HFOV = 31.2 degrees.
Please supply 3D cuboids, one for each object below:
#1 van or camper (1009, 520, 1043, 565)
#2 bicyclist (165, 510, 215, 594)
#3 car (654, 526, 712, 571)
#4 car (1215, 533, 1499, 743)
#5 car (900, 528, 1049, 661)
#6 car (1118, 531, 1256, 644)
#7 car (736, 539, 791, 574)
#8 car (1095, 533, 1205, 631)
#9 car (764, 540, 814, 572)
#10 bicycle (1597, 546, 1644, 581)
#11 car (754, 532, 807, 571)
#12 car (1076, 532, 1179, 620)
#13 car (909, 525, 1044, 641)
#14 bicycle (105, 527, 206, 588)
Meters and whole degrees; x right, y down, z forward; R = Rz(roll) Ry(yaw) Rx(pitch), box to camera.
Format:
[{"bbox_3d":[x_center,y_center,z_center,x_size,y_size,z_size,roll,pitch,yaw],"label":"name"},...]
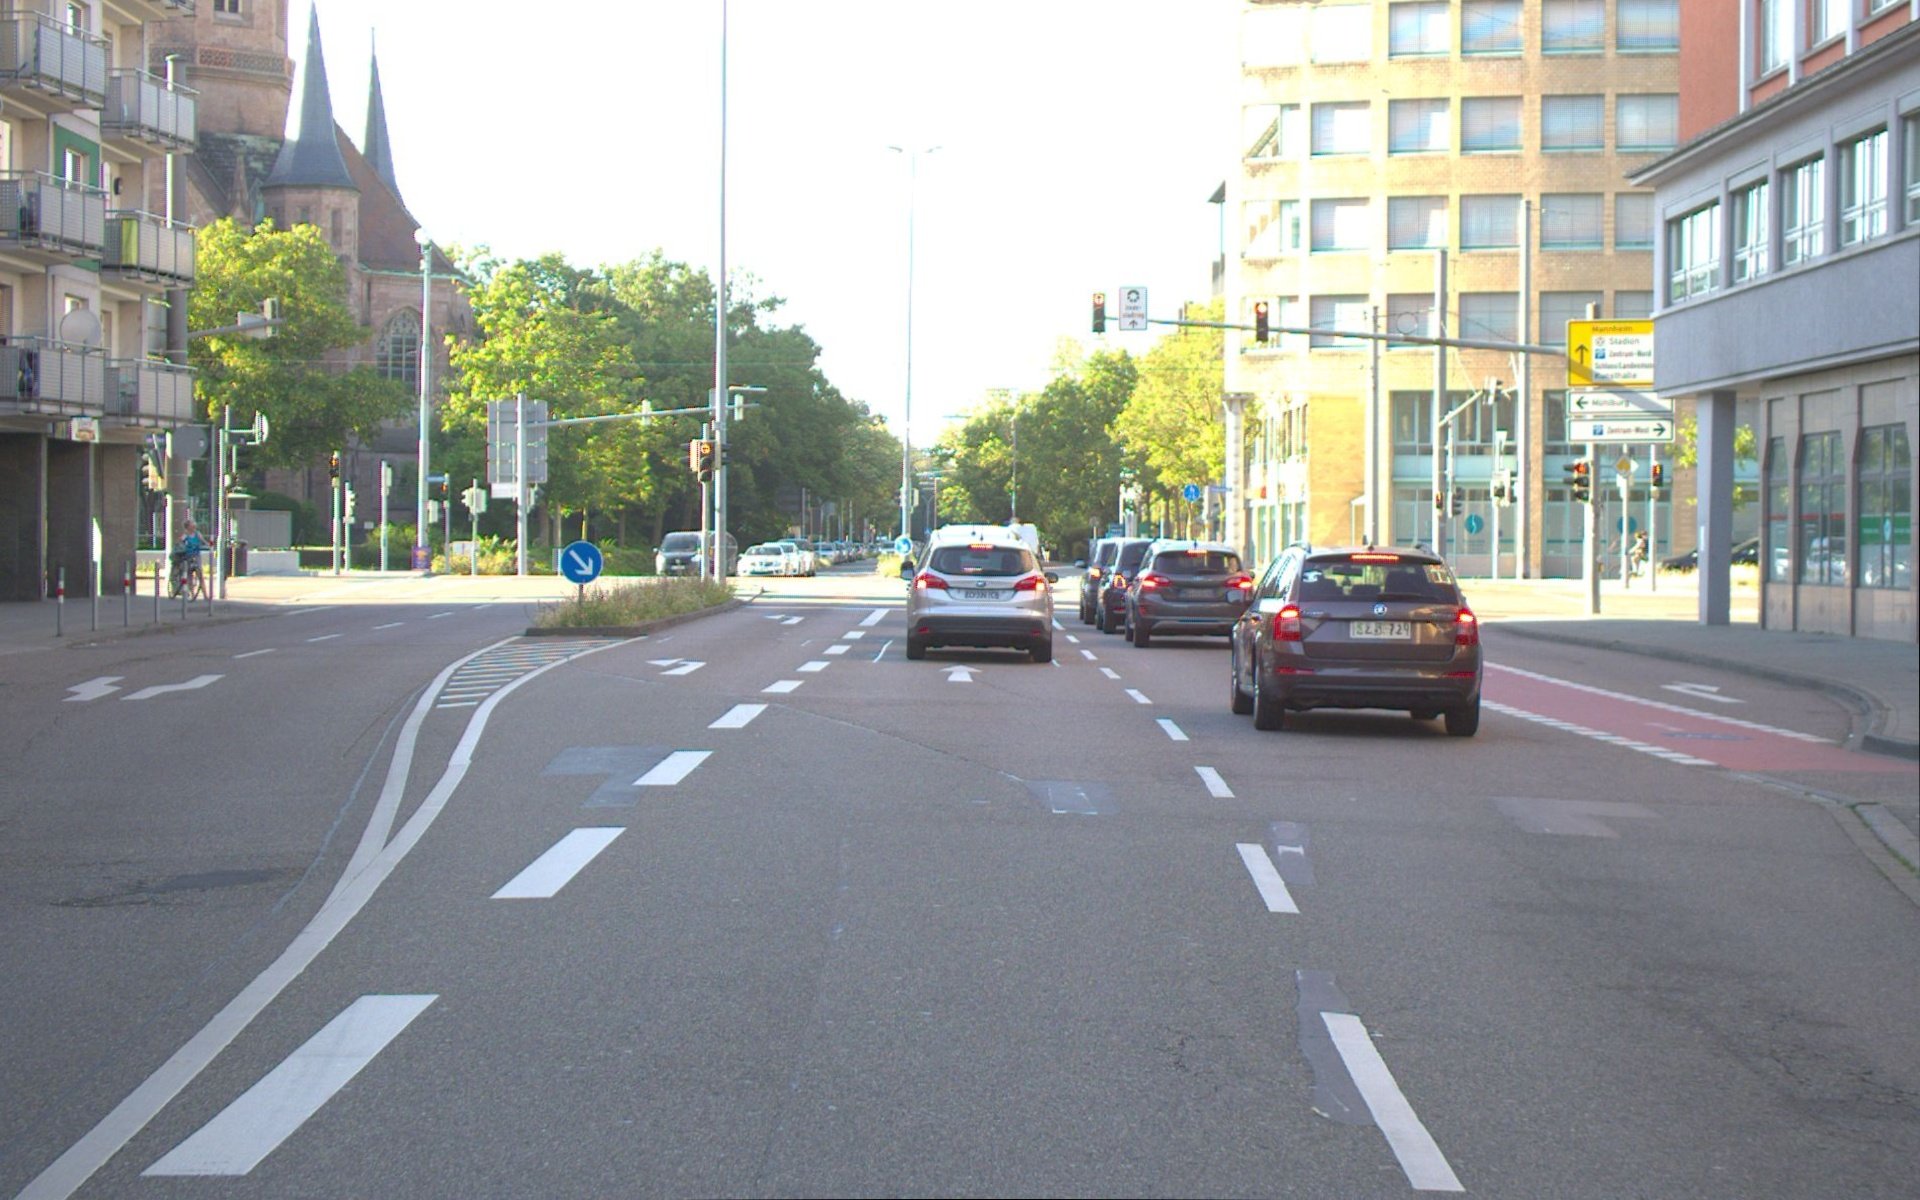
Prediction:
[{"bbox_3d":[3.967,-3.485,206.514,1.993,2.631,5.350,0,1,2],"label":"van or camper"},{"bbox_3d":[-15.376,-0.963,68.657,0.782,1.654,0.901,1,1,1],"label":"bicyclist"},{"bbox_3d":[-10.265,-1.919,127.516,1.780,1.641,4.000,1,1,1],"label":"car"},{"bbox_3d":[3.086,0.242,27.470,1.707,1.452,4.159,3,1,0],"label":"car"},{"bbox_3d":[0.168,-0.107,42.456,1.707,1.504,4.309,1,1,0],"label":"car"},{"bbox_3d":[3.182,-0.210,48.884,1.650,1.479,4.239,1,1,0],"label":"car"},{"bbox_3d":[-7.237,-1.632,126.944,1.780,1.232,4.000,1,1,1],"label":"car"},{"bbox_3d":[3.001,-0.309,54.795,1.489,1.500,3.479,0,1,-1],"label":"car"},{"bbox_3d":[-6.981,-1.821,140.779,1.780,1.232,4.000,1,1,1],"label":"car"},{"bbox_3d":[22.044,-1.215,114.760,1.520,1.168,0.475,1,1,7],"label":"bicycle"},{"bbox_3d":[-6.945,-1.890,133.512,1.780,1.459,4.000,1,1,1],"label":"car"},{"bbox_3d":[2.920,-0.447,60.417,1.584,1.442,3.648,2,1,0],"label":"car"},{"bbox_3d":[0.193,-0.269,48.290,1.803,1.563,3.619,0,1,-1],"label":"car"},{"bbox_3d":[-15.897,-0.842,67.969,1.827,1.184,0.734,1,1,-1],"label":"bicycle"}]
